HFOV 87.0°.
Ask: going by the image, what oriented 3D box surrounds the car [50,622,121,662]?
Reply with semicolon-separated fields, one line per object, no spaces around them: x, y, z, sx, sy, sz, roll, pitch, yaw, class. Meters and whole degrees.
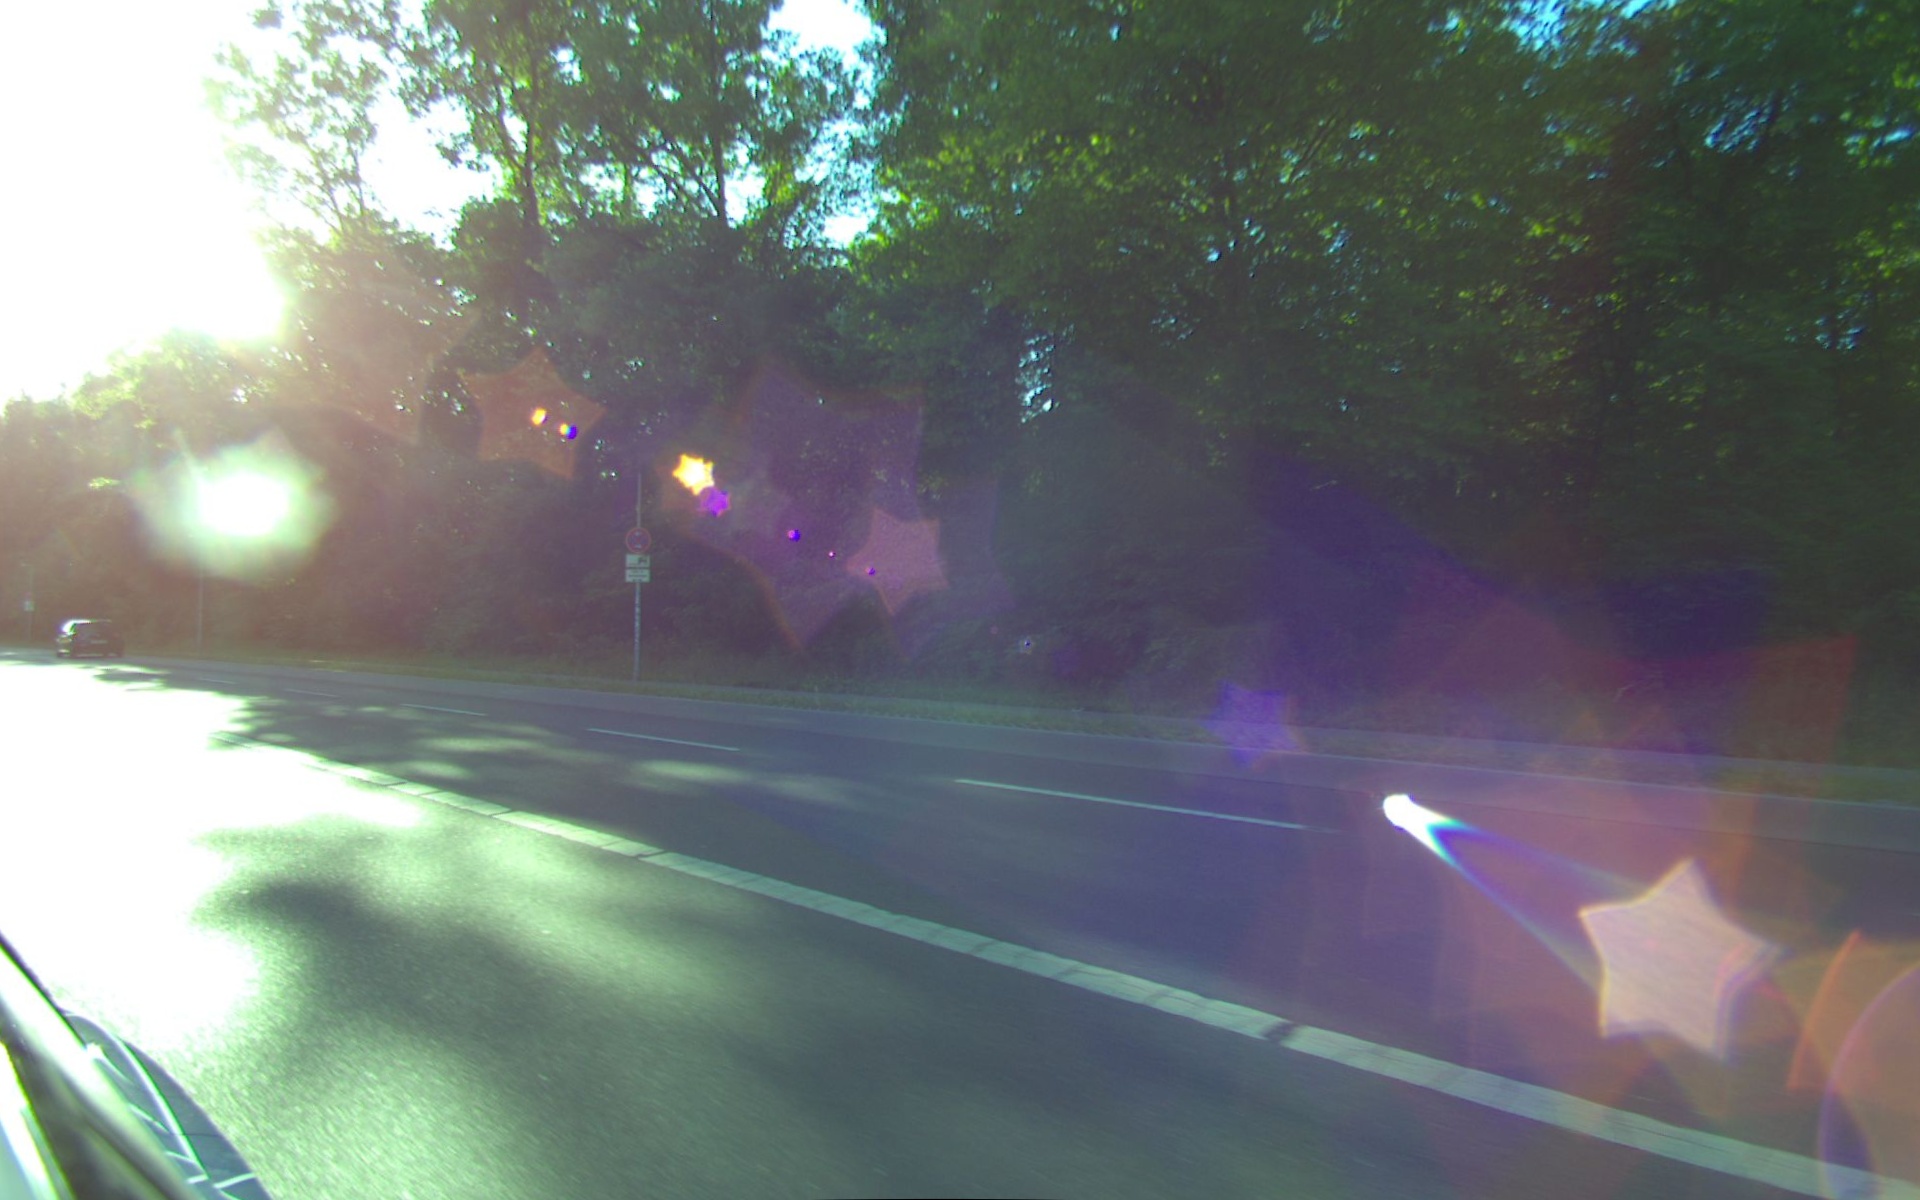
-33.600;1.603;38.864;3.496;1.455;1.480;-2;-1;39;car
